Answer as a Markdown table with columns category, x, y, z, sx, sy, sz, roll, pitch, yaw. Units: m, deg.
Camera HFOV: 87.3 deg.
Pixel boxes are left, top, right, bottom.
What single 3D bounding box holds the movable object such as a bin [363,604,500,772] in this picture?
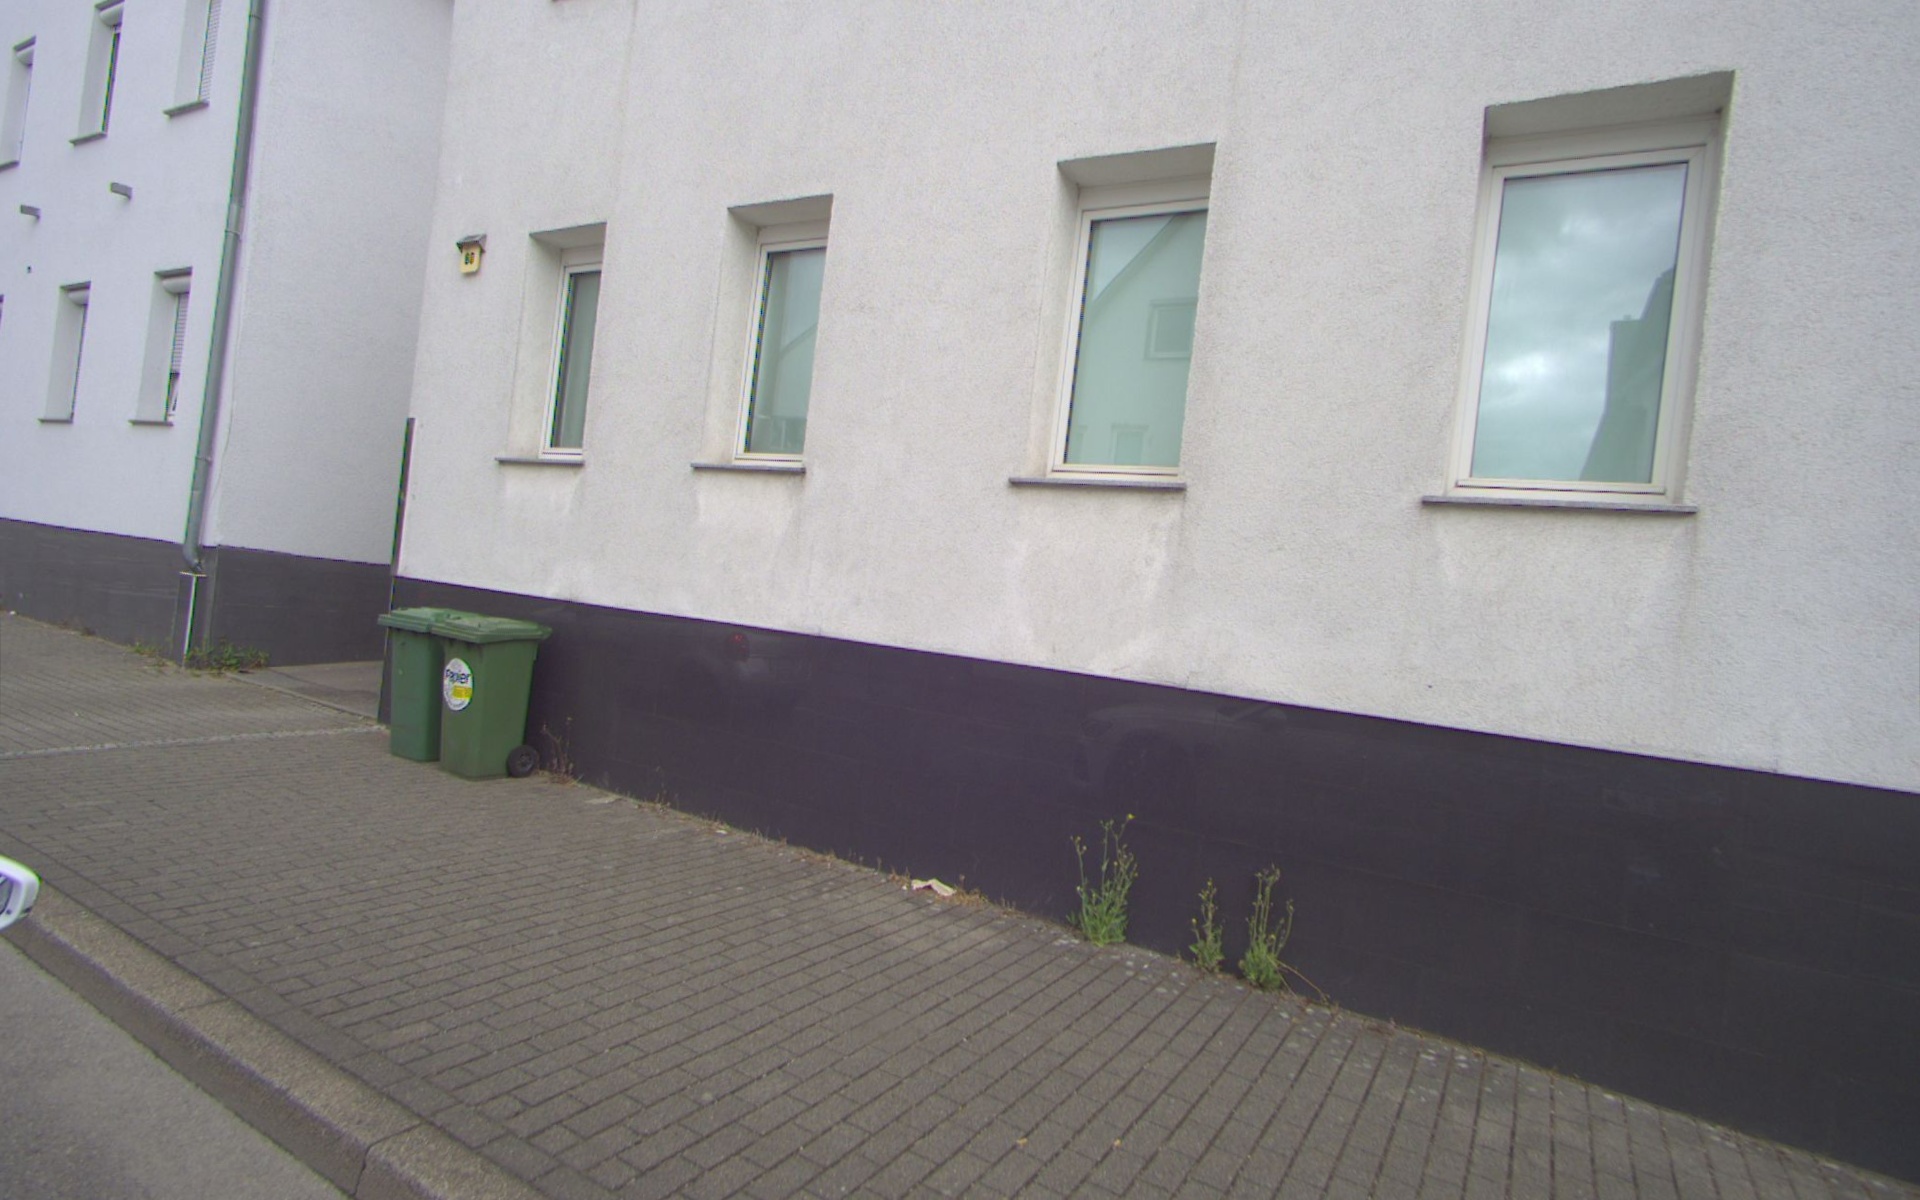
| category | x | y | z | sx | sy | sz | roll | pitch | yaw |
| --- | --- | --- | --- | --- | --- | --- | --- | --- | --- |
| movable object such as a bin | -3.304 | 0.531 | 6.301 | 0.479 | 0.953 | 0.540 | 7 | 2 | 32 |

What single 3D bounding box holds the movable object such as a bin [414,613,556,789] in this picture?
| category | x | y | z | sx | sy | sz | roll | pitch | yaw |
| --- | --- | --- | --- | --- | --- | --- | --- | --- | --- |
| movable object such as a bin | -2.846 | 0.584 | 6.044 | 0.479 | 0.953 | 0.540 | 7 | 2 | 32 |
